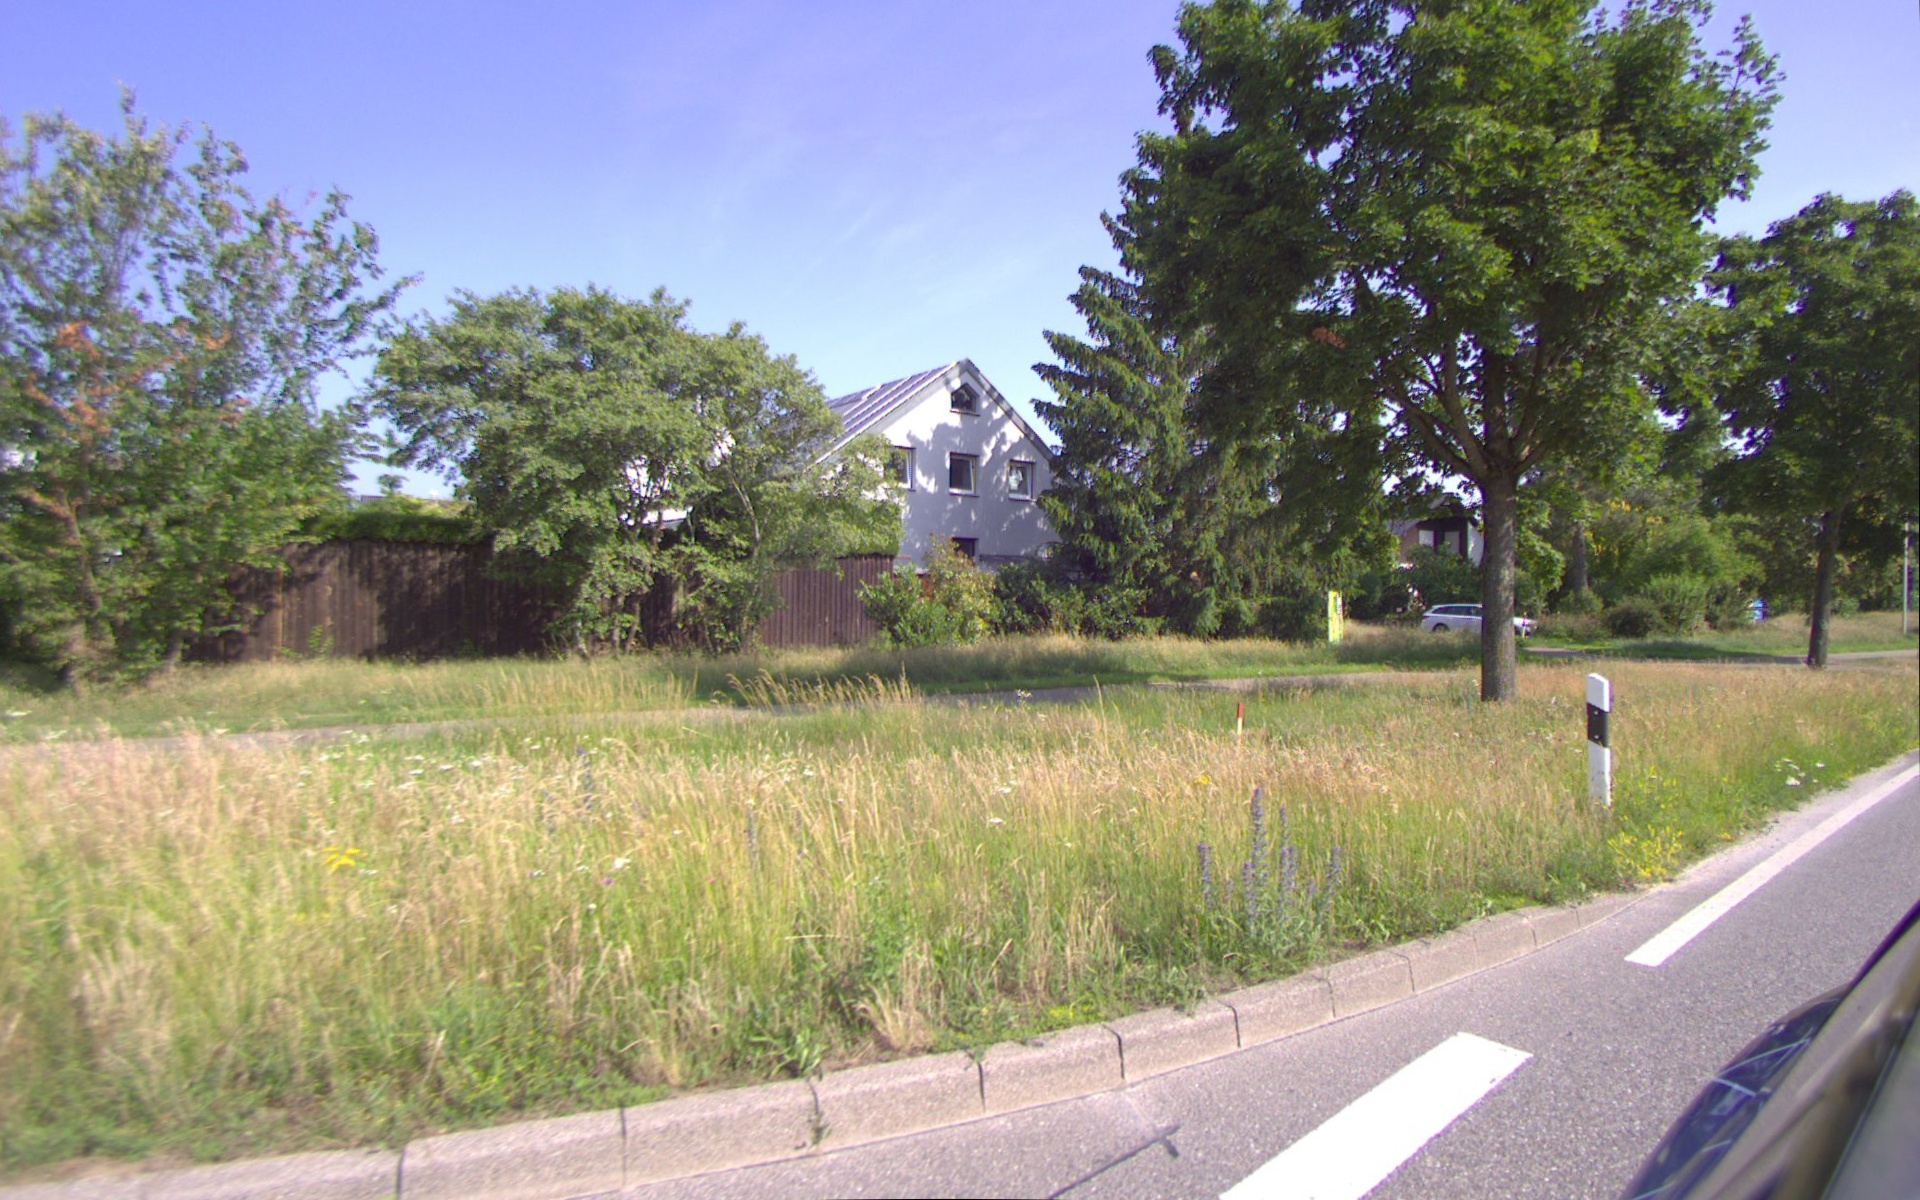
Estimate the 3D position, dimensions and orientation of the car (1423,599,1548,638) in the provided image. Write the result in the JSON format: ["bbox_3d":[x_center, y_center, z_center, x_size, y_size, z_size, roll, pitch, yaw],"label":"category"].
[{"bbox_3d":[20.698,0.685,39.976,1.783,1.452,3.994,0,0,-40],"label":"car"}]
